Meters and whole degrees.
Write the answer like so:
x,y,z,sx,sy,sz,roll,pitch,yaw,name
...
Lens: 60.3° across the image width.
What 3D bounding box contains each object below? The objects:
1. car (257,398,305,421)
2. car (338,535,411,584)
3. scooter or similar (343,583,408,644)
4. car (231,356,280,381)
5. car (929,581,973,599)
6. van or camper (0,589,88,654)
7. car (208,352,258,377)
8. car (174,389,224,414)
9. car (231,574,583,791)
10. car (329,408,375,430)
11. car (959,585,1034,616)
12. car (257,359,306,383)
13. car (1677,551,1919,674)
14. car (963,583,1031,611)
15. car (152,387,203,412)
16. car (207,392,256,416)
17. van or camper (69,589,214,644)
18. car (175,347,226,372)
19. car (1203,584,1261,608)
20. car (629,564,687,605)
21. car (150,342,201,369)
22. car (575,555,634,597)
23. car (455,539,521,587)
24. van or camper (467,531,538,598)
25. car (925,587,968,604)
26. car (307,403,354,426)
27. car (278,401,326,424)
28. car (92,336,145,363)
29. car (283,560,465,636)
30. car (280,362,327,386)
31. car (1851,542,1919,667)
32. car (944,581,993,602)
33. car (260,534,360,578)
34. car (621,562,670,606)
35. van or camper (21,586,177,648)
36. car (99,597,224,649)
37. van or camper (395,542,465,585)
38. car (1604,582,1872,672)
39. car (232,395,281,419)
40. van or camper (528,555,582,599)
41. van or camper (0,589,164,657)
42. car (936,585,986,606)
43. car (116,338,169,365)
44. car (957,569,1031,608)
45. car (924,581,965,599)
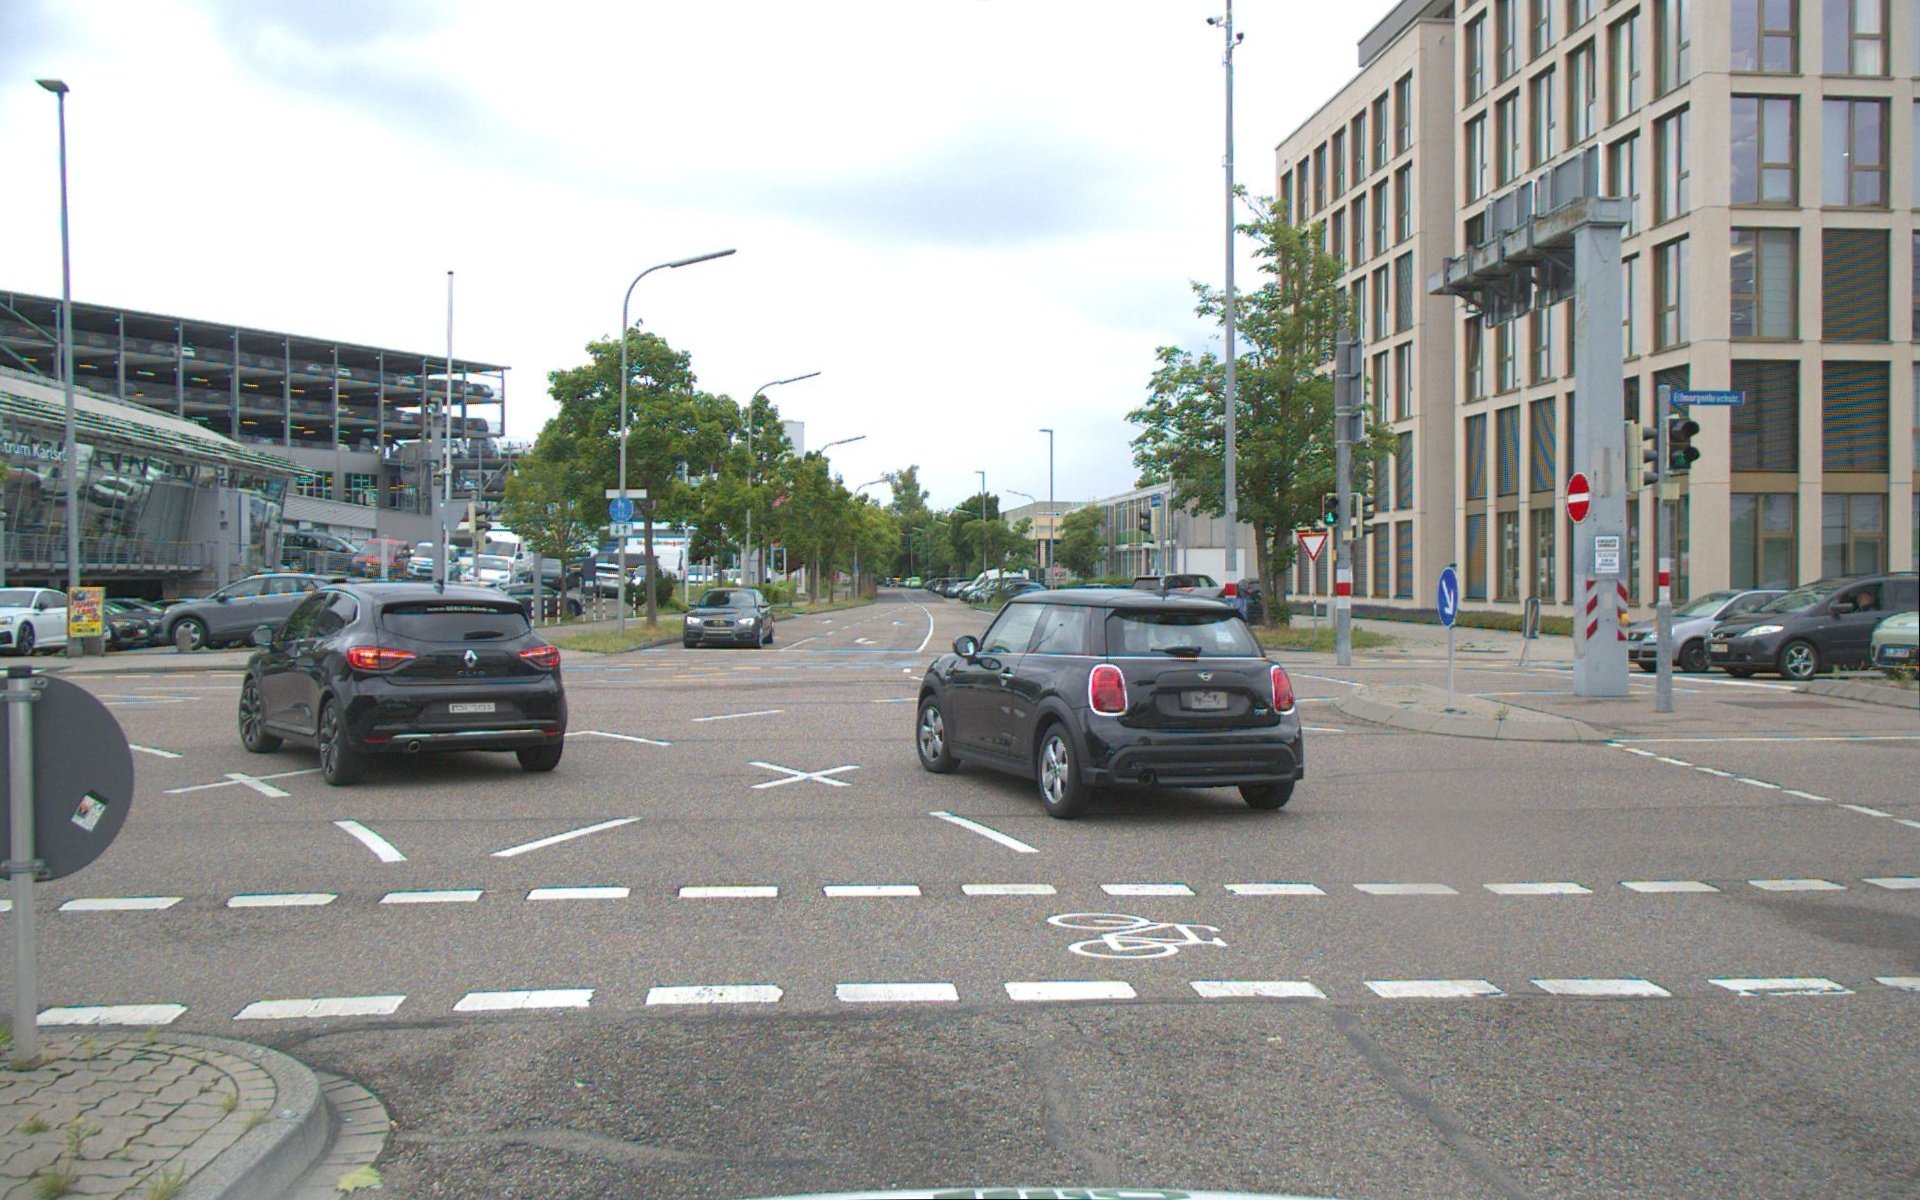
x,y,z,sx,sy,sz,roll,pitch,yaw,name
-60.051,-16.835,146.330,3.913,1.696,1.996,1,0,30,car
-24.860,-1.691,70.364,1.955,1.881,3.995,1,-1,-6,car
-12.546,0.277,35.538,0.545,1.240,1.561,3,1,12,scooter or similar
-61.369,-20.157,144.090,3.913,1.696,1.996,1,0,30,car
-1.055,-1.156,192.872,5.071,2.049,2.142,1,-1,-3,car
-26.312,0.555,45.143,3.910,1.707,1.997,1,-1,-6,van or camper
-62.441,-20.202,142.037,3.913,1.696,1.996,1,0,30,car
-64.247,-16.758,139.619,3.913,1.696,1.996,1,0,30,car
-4.585,0.535,13.348,1.741,1.459,3.953,0,1,-34,car
-56.332,-16.791,153.245,3.913,1.696,1.996,1,0,30,car
2.584,0.055,116.813,5.072,2.049,2.141,1,-1,-5,car
-60.074,-20.292,146.442,3.913,1.696,1.996,1,0,30,car
13.949,0.223,26.208,4.322,1.800,1.997,1,-1,-6,car
2.655,-0.200,120.079,4.691,1.924,2.142,1,-1,-5,car
-65.061,-16.660,137.506,3.913,1.696,1.996,1,0,30,car
-62.515,-16.813,141.915,3.913,1.696,1.996,1,0,30,car
-27.513,0.556,55.689,3.910,1.741,1.845,1,-1,-6,van or camper
-64.011,-20.243,139.336,3.913,1.696,1.996,1,0,30,car
16.322,-0.227,99.254,3.183,1.356,1.477,2,-1,-21,car
-13.041,-0.661,71.592,1.954,1.646,3.997,1,-1,-4,car
-65.207,-20.289,137.422,3.913,1.696,1.996,1,0,30,car
-15.222,-0.995,71.028,1.955,1.646,3.995,1,-1,-6,car
-20.039,-1.555,70.432,1.955,1.855,3.995,1,-1,-6,car
-22.503,-1.714,81.594,2.487,3.079,4.837,1,-1,-6,van or camper
-1.664,-0.542,202.866,5.071,2.049,2.142,1,-1,-3,car
-57.449,-16.892,150.851,3.913,1.696,1.996,1,0,30,car
-58.957,-16.818,148.225,3.913,1.696,1.996,1,0,30,car
-67.600,-20.133,132.886,3.913,1.696,1.996,1,0,30,car
-17.187,-0.053,48.738,4.684,2.049,1.996,-2,0,-9,car
-58.870,-20.237,148.311,3.913,1.696,1.996,1,0,30,car
14.816,0.111,22.938,3.978,1.672,1.902,1,-1,-8,car
0.848,-0.789,163.365,4.691,1.924,2.142,1,-1,-5,car
-30.132,-2.030,76.764,3.909,1.870,1.758,1,-1,-5,car
-15.604,-0.780,82.217,1.955,2.049,3.995,1,-1,-6,car
-27.267,0.548,52.476,3.910,1.847,1.845,1,-1,-6,van or camper
-30.629,0.875,63.527,3.912,1.870,1.757,1,-1,-8,car
-22.452,-1.514,70.214,1.955,1.680,3.995,1,-1,-6,van or camper
13.824,0.475,29.490,4.006,1.457,1.749,1,-1,-6,car
-61.265,-16.829,144.089,3.913,1.696,1.996,1,0,30,car
-19.958,-1.095,81.659,1.955,2.049,3.995,1,-1,-6,van or camper
-25.672,0.661,48.278,3.910,1.847,1.845,2,-1,-6,van or camper
0.084,-0.443,169.938,5.071,2.049,2.142,1,-1,-3,car
-66.708,-20.245,134.970,3.913,1.696,1.996,1,0,30,car
2.868,-0.946,139.449,5.995,3.171,2.132,1,-1,-4,car
-1.974,-1.240,206.678,5.071,2.049,2.142,1,-1,-3,car
